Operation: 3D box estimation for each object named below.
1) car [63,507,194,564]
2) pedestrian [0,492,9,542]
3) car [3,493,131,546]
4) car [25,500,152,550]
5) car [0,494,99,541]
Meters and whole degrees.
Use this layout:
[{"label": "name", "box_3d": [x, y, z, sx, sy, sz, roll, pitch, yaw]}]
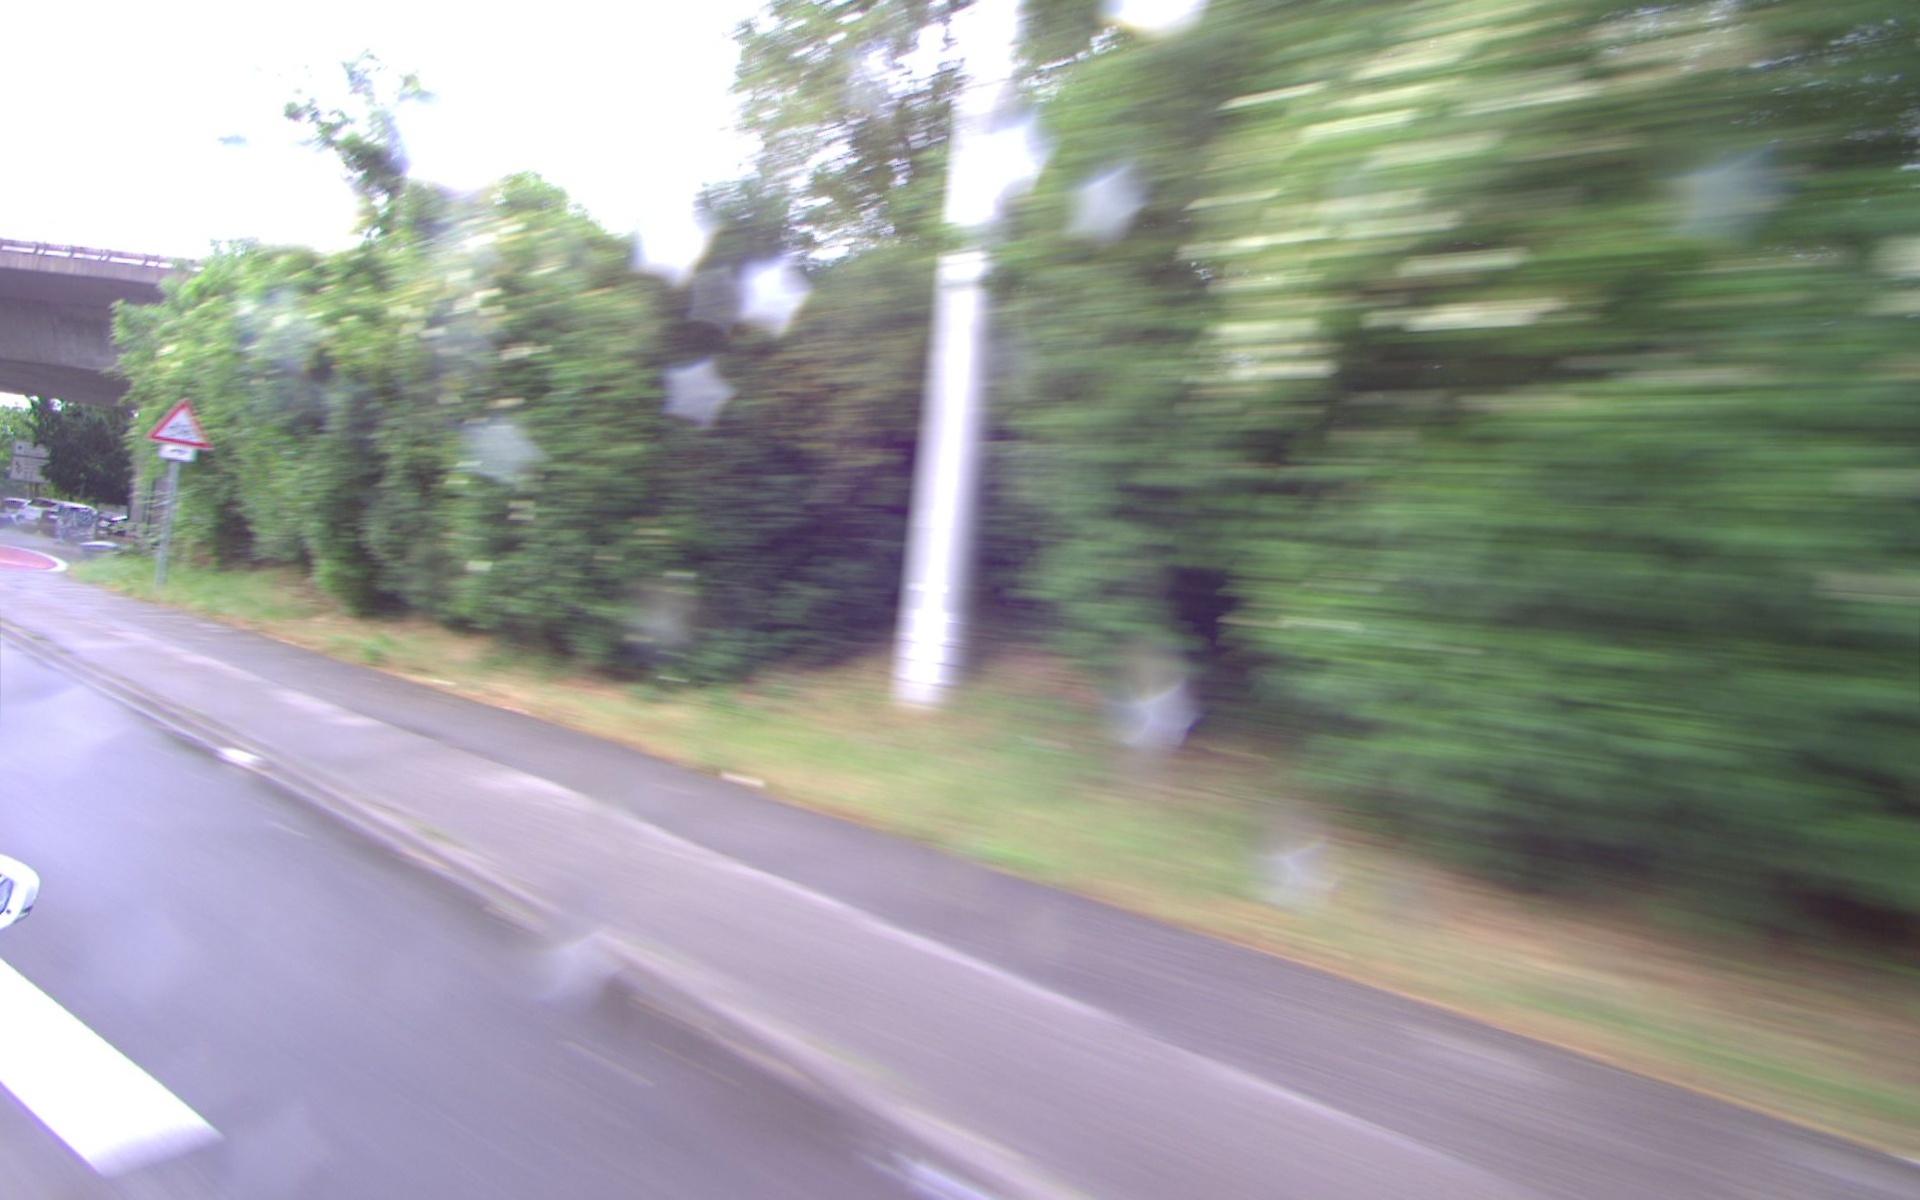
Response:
[{"label": "car", "box_3d": [-35.225, -2.696, 42.782, 1.869, 1.588, 4.008, 8, -4, 5]}, {"label": "pedestrian", "box_3d": [-34.204, -2.939, 35.395, 0.894, 1.841, 0.599, 6, -3, 29]}, {"label": "car", "box_3d": [-40.159, -3.591, 45.373, 1.930, 1.649, 4.028, 7, -2, 2]}, {"label": "car", "box_3d": [-37.732, -3.208, 43.704, 1.754, 1.455, 4.055, 8, -2, 2]}, {"label": "car", "box_3d": [-42.488, -3.811, 46.571, 1.769, 1.539, 3.740, 7, -2, 2]}]
